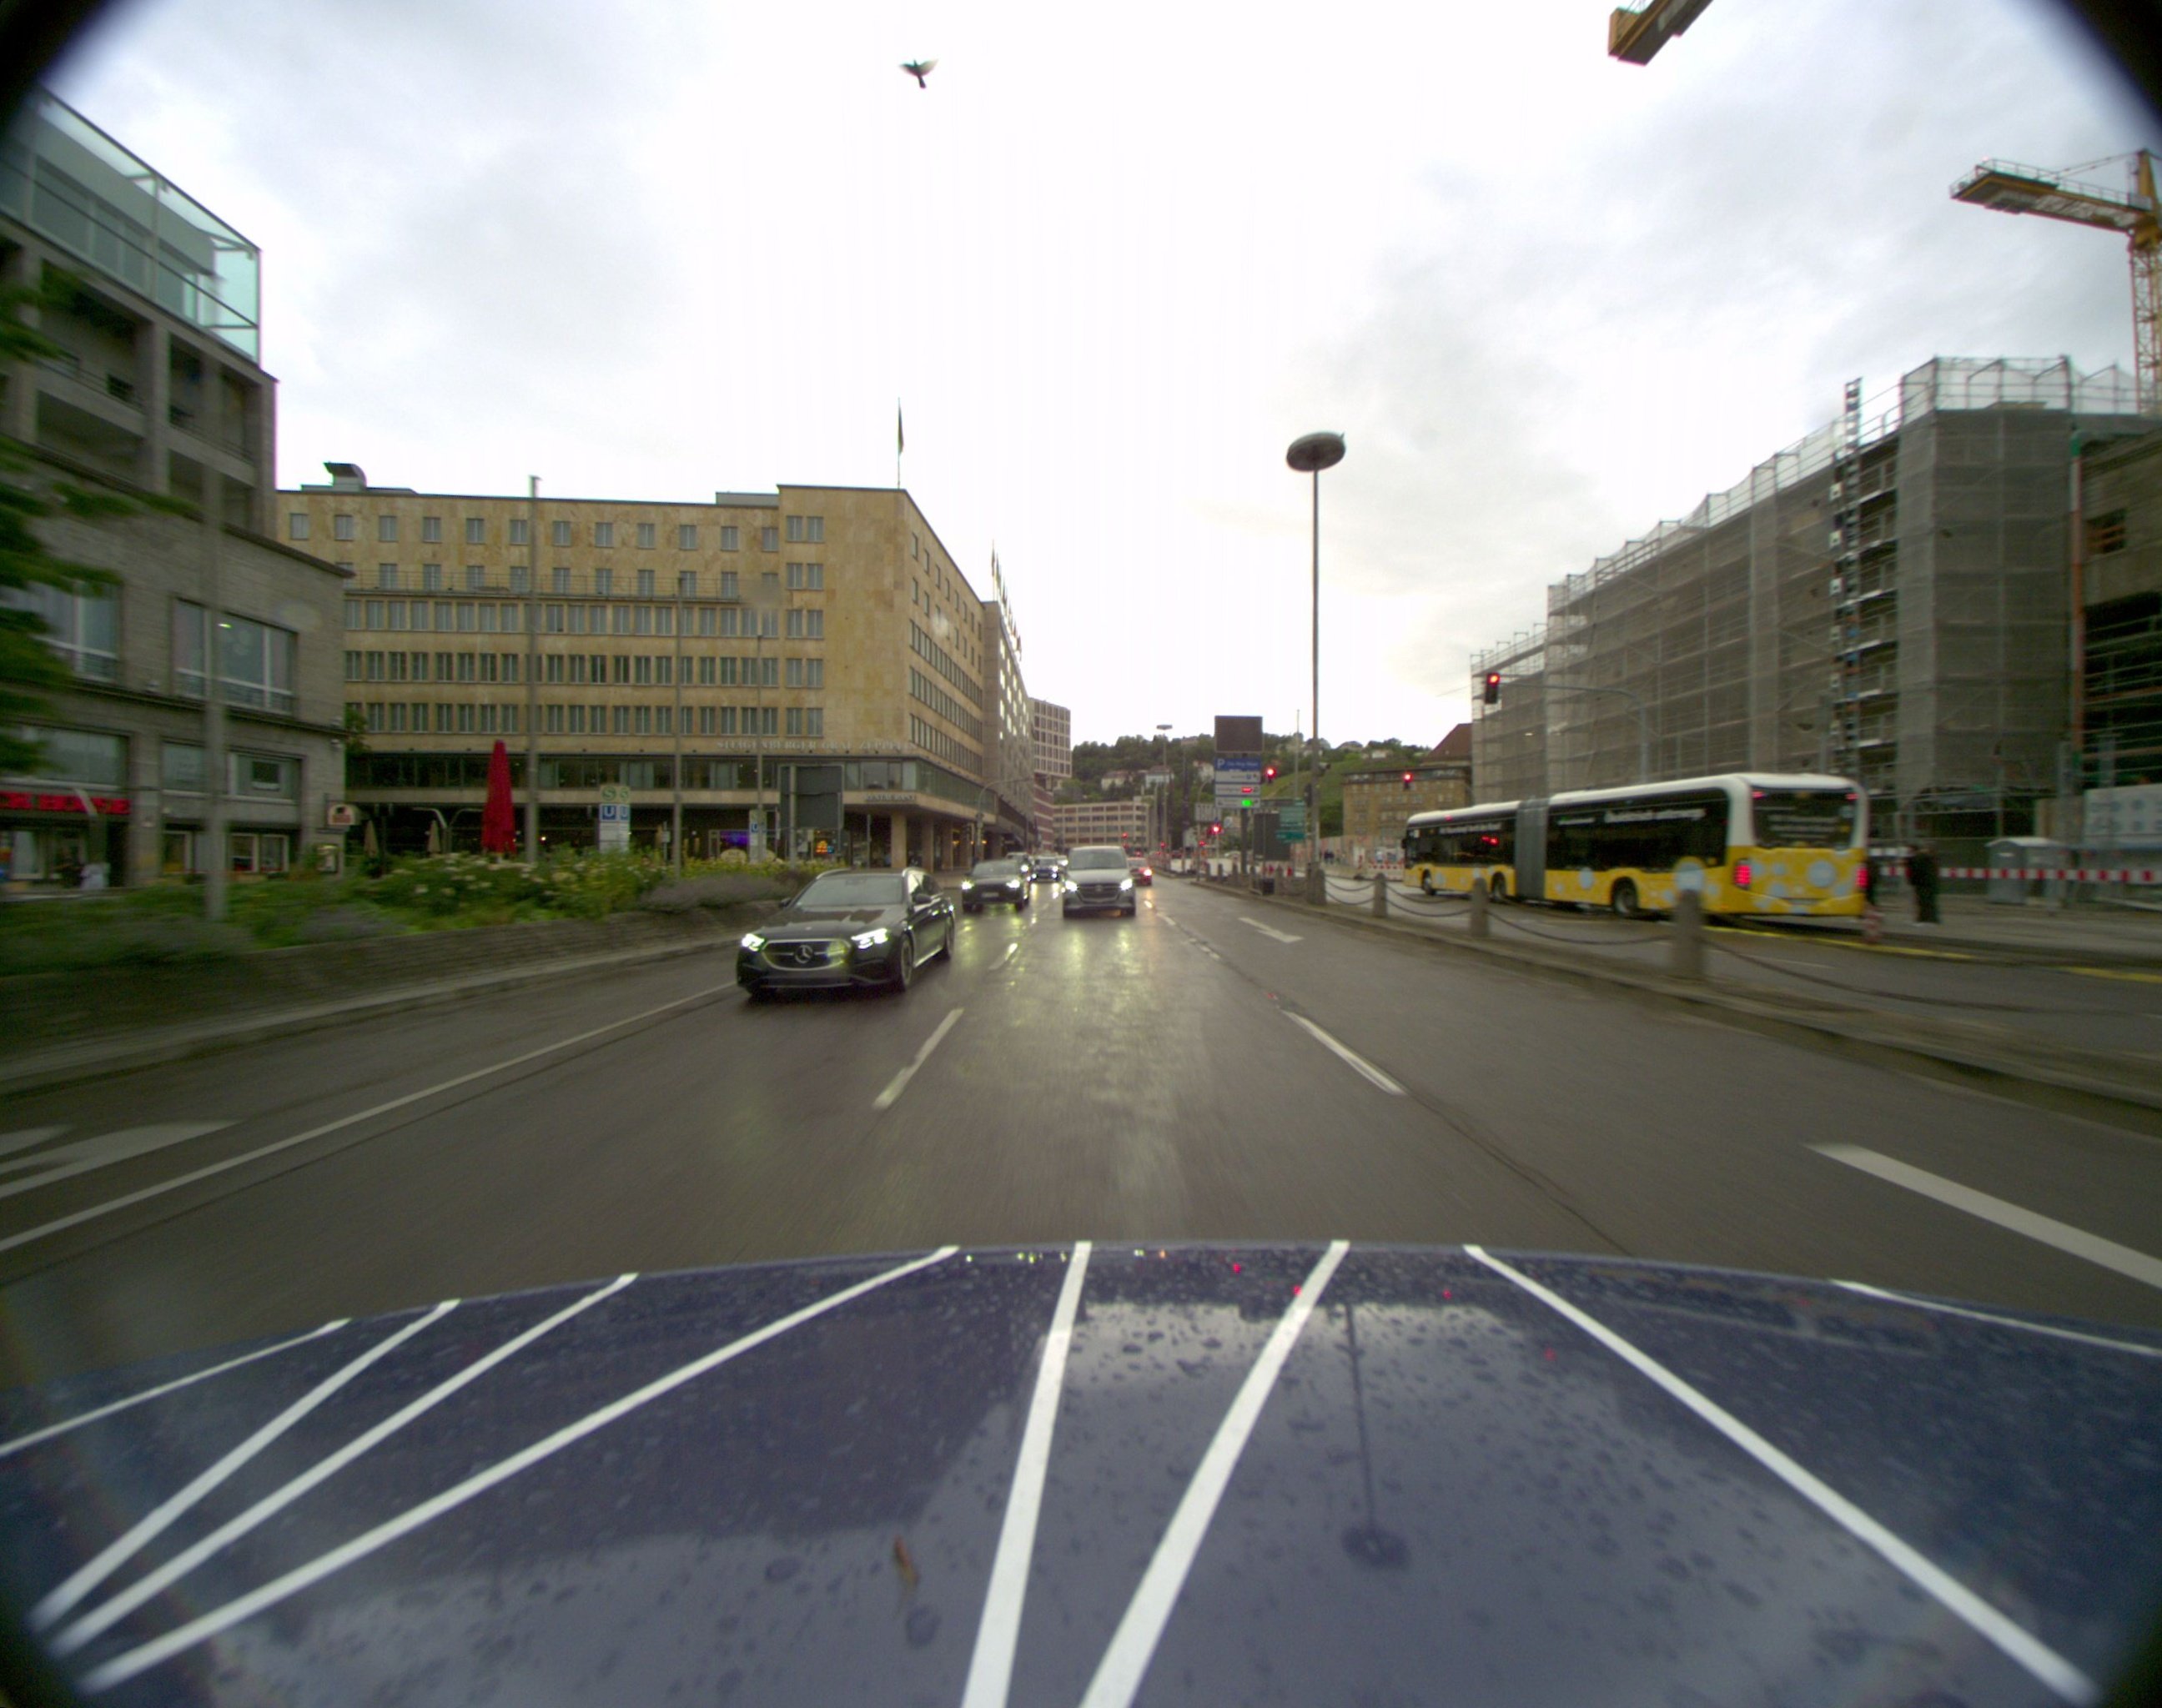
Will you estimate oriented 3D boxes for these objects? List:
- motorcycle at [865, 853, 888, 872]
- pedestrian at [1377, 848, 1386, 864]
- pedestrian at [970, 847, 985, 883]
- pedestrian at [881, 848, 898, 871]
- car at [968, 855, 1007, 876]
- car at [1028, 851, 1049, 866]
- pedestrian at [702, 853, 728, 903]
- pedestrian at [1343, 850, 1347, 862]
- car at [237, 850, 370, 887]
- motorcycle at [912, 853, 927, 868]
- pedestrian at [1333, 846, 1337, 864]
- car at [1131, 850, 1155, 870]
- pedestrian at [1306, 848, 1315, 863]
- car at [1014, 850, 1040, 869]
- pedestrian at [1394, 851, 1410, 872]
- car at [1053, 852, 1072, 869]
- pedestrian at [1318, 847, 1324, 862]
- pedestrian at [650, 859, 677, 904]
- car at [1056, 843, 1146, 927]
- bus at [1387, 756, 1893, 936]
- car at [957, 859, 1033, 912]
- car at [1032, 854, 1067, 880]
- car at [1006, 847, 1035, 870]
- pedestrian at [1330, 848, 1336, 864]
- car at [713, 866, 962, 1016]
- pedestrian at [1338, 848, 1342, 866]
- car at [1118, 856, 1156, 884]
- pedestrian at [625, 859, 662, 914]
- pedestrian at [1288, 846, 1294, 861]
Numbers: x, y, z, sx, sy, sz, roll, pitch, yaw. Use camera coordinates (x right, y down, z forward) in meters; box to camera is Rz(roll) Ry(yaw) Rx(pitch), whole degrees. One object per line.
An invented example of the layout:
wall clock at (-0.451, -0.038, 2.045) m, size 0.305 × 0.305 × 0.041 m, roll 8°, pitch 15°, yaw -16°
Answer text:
motorcycle at (-16.061, 0.649, 59.622) m, size 0.964 × 1.444 × 2.850 m, roll -1°, pitch 0°, yaw 1°
pedestrian at (26.276, 0.173, 66.476) m, size 0.565 × 1.435 × 0.528 m, roll -1°, pitch 1°, yaw 8°
pedestrian at (-5.666, 0.598, 41.784) m, size 0.674 × 1.908 × 0.792 m, roll -1°, pitch 1°, yaw 1°
pedestrian at (-15.078, 0.428, 59.914) m, size 1.000 × 1.836 × 1.109 m, roll 0°, pitch 1°, yaw 3°
car at (-6.742, 0.781, 55.039) m, size 2.194 × 1.405 × 4.482 m, roll -1°, pitch 0°, yaw 1°
car at (-4.652, 0.434, 83.564) m, size 1.998 × 1.600 × 4.876 m, roll -1°, pitch 0°, yaw 1°
pedestrian at (-13.295, 0.859, 27.592) m, size 0.536 × 1.780 × 0.681 m, roll -1°, pitch 1°, yaw 3°
pedestrian at (25.934, 0.166, 74.747) m, size 0.255 × 1.187 × 0.390 m, roll -1°, pitch 1°, yaw 6°
car at (-42.378, 0.761, 41.508) m, size 5.162 × 1.914 × 2.000 m, roll -1°, pitch 0°, yaw -1°
motorcycle at (-14.139, 0.574, 66.471) m, size 0.730 × 1.223 × 2.536 m, roll -1°, pitch 0°, yaw 1°
pedestrian at (25.091, 0.067, 75.037) m, size 0.311 × 1.759 × 0.346 m, roll -1°, pitch 1°, yaw 4°
car at (5.060, 0.471, 62.286) m, size 1.672 × 1.512 × 3.725 m, roll -2°, pitch 1°, yaw 1°
pedestrian at (25.768, 0.212, 85.206) m, size 0.807 × 1.675 × 0.617 m, roll -1°, pitch 1°, yaw 4°
car at (-5.020, 0.502, 71.555) m, size 1.998 × 1.644 × 5.134 m, roll -1°, pitch 0°, yaw 1°
pedestrian at (24.505, 0.558, 57.974) m, size 0.953 × 1.557 × 0.709 m, roll 0°, pitch 1°, yaw 2°
car at (-1.852, 0.651, 77.300) m, size 1.763 × 1.582 × 3.842 m, roll -2°, pitch 1°, yaw 1°
pedestrian at (27.930, 0.102, 88.260) m, size 0.517 × 1.745 × 0.463 m, roll -2°, pitch 1°, yaw 1°
pedestrian at (-14.451, 0.938, 26.300) m, size 0.555 × 1.520 × 0.591 m, roll -1°, pitch 1°, yaw 3°
car at (0.396, 0.719, 20.501) m, size 1.999 × 1.893 × 5.249 m, roll -2°, pitch 0°, yaw -3°
bus at (14.965, -0.228, 24.697) m, size 2.916 × 3.557 × 19.078 m, roll 0°, pitch 0°, yaw 2°
car at (-2.663, 0.949, 24.439) m, size 1.876 × 1.499 × 4.164 m, roll -1°, pitch 0°, yaw 1°
car at (-1.939, 0.802, 48.449) m, size 1.998 × 1.549 × 3.908 m, roll -1°, pitch 0°, yaw 1°
car at (-5.138, 0.345, 65.093) m, size 1.998 × 1.873 × 4.996 m, roll -1°, pitch 0°, yaw 1°
pedestrian at (25.139, 0.167, 75.801) m, size 0.400 × 1.611 × 0.365 m, roll -1°, pitch 1°, yaw 5°
car at (-2.967, 0.970, 10.460) m, size 1.823 × 1.455 × 4.700 m, roll -1°, pitch 0°, yaw 1°
pedestrian at (25.479, 0.302, 74.809) m, size 0.314 × 1.759 × 0.268 m, roll -1°, pitch 1°, yaw 4°
car at (2.870, 0.804, 39.783) m, size 1.747 × 1.369 × 4.000 m, roll -1°, pitch 0°, yaw 1°
pedestrian at (-14.364, 1.055, 24.962) m, size 0.699 × 1.741 × 0.837 m, roll -1°, pitch 1°, yaw -2°
pedestrian at (28.044, -0.023, 101.400) m, size 0.593 × 2.022 × 0.686 m, roll -1°, pitch 1°, yaw 1°
